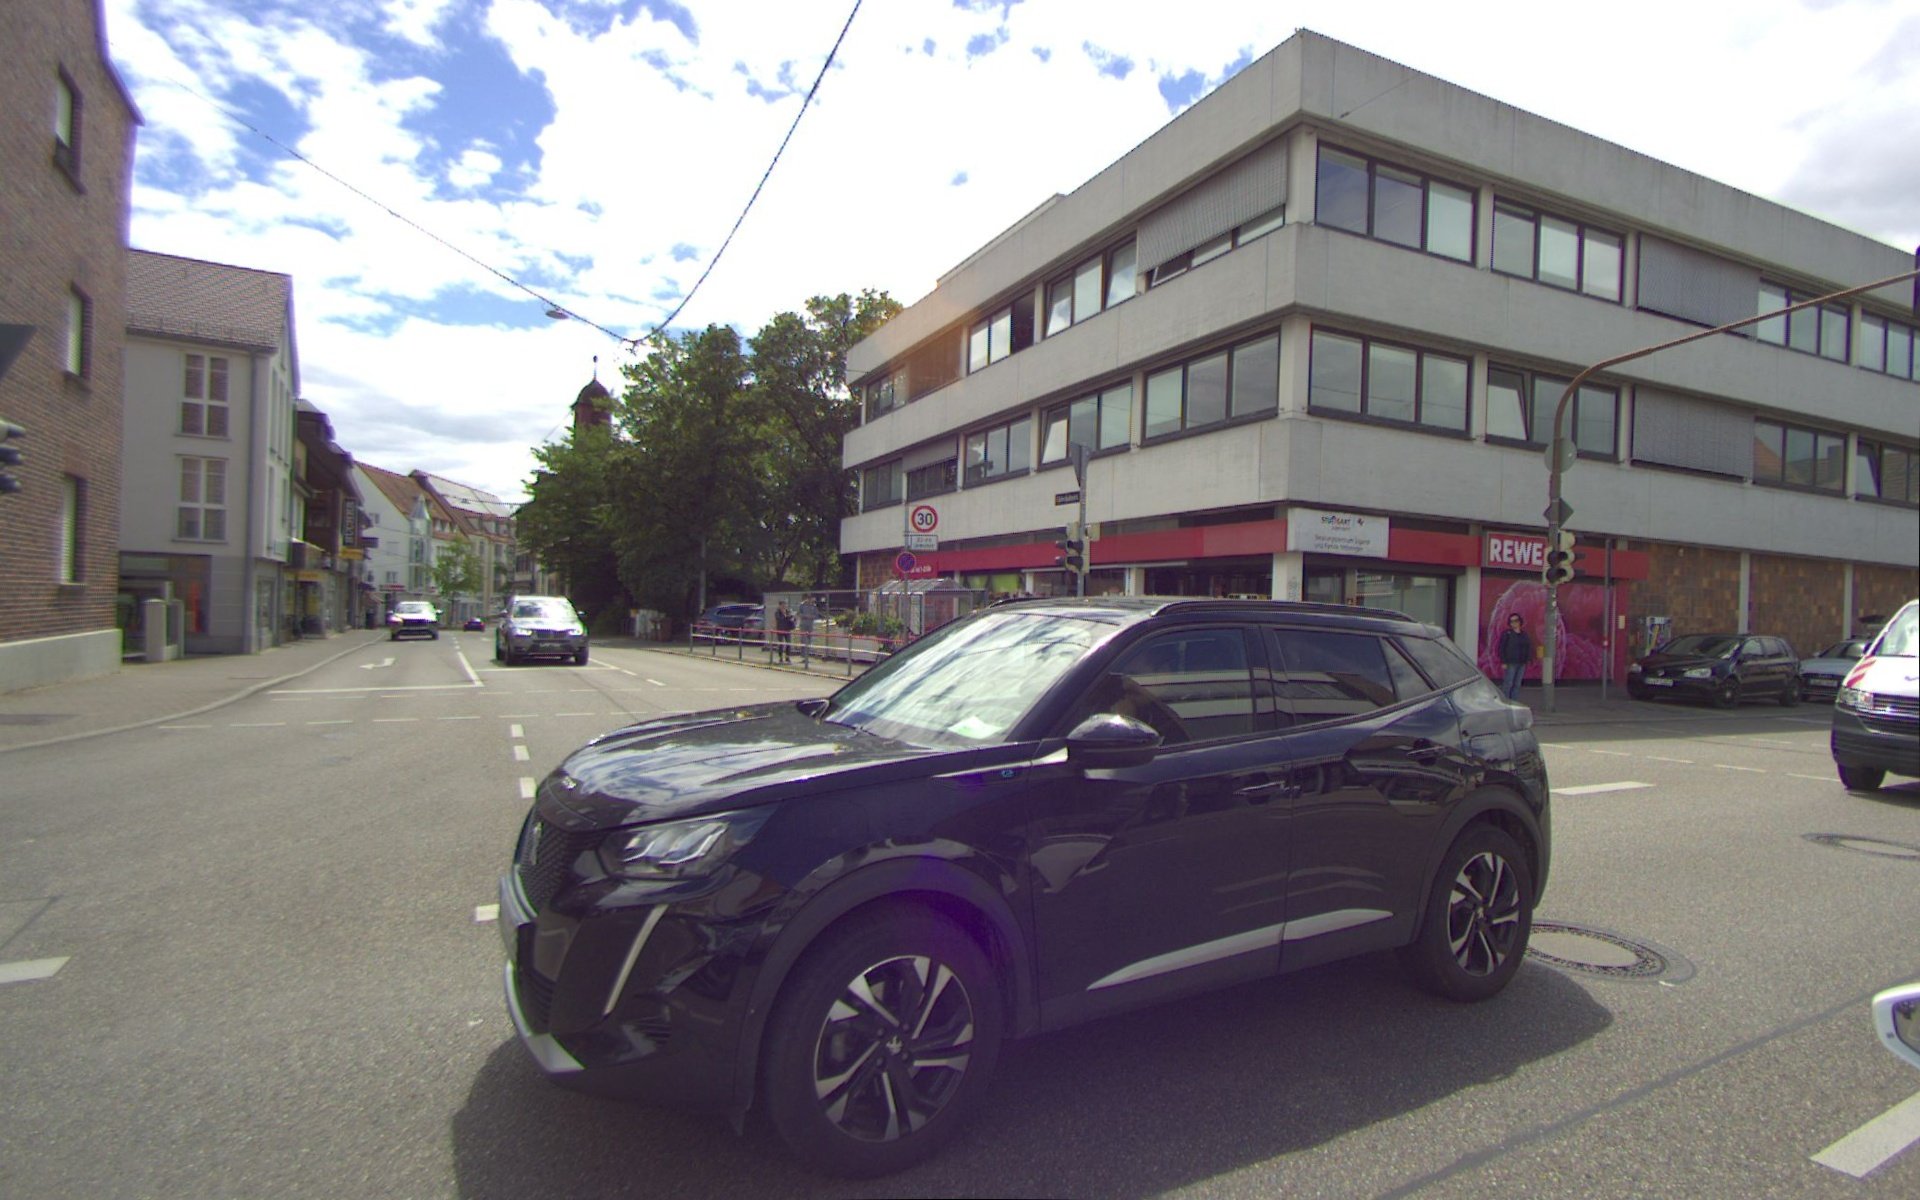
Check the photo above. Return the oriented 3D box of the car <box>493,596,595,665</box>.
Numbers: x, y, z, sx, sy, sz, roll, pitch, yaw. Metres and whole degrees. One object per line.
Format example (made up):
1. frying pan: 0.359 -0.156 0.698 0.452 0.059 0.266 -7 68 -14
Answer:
1. car: -10.527 0.735 25.246 1.898 1.595 3.969 1 -1 -29

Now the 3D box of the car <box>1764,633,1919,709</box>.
1. car: 20.498 1.557 22.719 4.385 1.463 1.897 2 1 -26

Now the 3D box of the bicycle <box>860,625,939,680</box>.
1. bicycle: -1.352 1.130 22.075 0.770 1.157 1.866 2 -3 -39

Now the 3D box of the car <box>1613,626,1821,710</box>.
1. car: 15.548 1.363 20.609 4.034 1.484 1.778 2 1 -27

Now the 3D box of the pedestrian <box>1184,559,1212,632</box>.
1. pedestrian: 5.959 -0.103 25.087 0.381 1.762 0.779 3 0 31

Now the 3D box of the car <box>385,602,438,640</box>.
1. car: -23.878 0.900 43.712 1.898 1.595 4.296 1 -1 -29

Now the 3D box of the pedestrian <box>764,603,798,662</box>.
1. pedestrian: -4.967 0.887 27.833 0.671 1.598 0.727 1 -1 -38

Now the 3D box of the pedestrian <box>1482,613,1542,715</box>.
1. pedestrian: 9.285 1.060 16.895 0.652 1.663 0.616 1 -1 -29

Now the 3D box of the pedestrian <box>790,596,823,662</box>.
1. pedestrian: -4.390 0.831 28.732 0.671 1.860 0.727 1 -1 -38

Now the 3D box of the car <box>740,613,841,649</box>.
1. car: -6.730 1.227 39.808 3.670 1.338 1.775 1 -1 -21

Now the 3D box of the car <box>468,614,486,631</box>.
1. car: -46.022 2.142 95.714 1.468 1.499 3.177 1 -1 -26

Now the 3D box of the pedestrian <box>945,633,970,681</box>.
1. pedestrian: -0.059 1.252 22.147 0.357 1.018 0.384 3 0 34

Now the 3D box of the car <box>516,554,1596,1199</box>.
1. car: 0.522 0.715 3.881 3.921 1.517 1.675 2 -1 -31

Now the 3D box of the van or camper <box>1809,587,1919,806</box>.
1. van or camper: 10.521 0.879 9.914 4.637 1.923 1.855 1 0 -31

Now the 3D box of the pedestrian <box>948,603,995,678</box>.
1. pedestrian: 0.267 0.912 22.695 0.712 1.618 0.695 3 0 33

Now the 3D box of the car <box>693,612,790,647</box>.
1. car: -8.995 1.210 41.351 3.670 1.339 1.775 1 -1 -21

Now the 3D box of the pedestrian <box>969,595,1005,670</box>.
1. pedestrian: 0.667 0.790 24.717 0.612 1.799 0.554 3 0 35
